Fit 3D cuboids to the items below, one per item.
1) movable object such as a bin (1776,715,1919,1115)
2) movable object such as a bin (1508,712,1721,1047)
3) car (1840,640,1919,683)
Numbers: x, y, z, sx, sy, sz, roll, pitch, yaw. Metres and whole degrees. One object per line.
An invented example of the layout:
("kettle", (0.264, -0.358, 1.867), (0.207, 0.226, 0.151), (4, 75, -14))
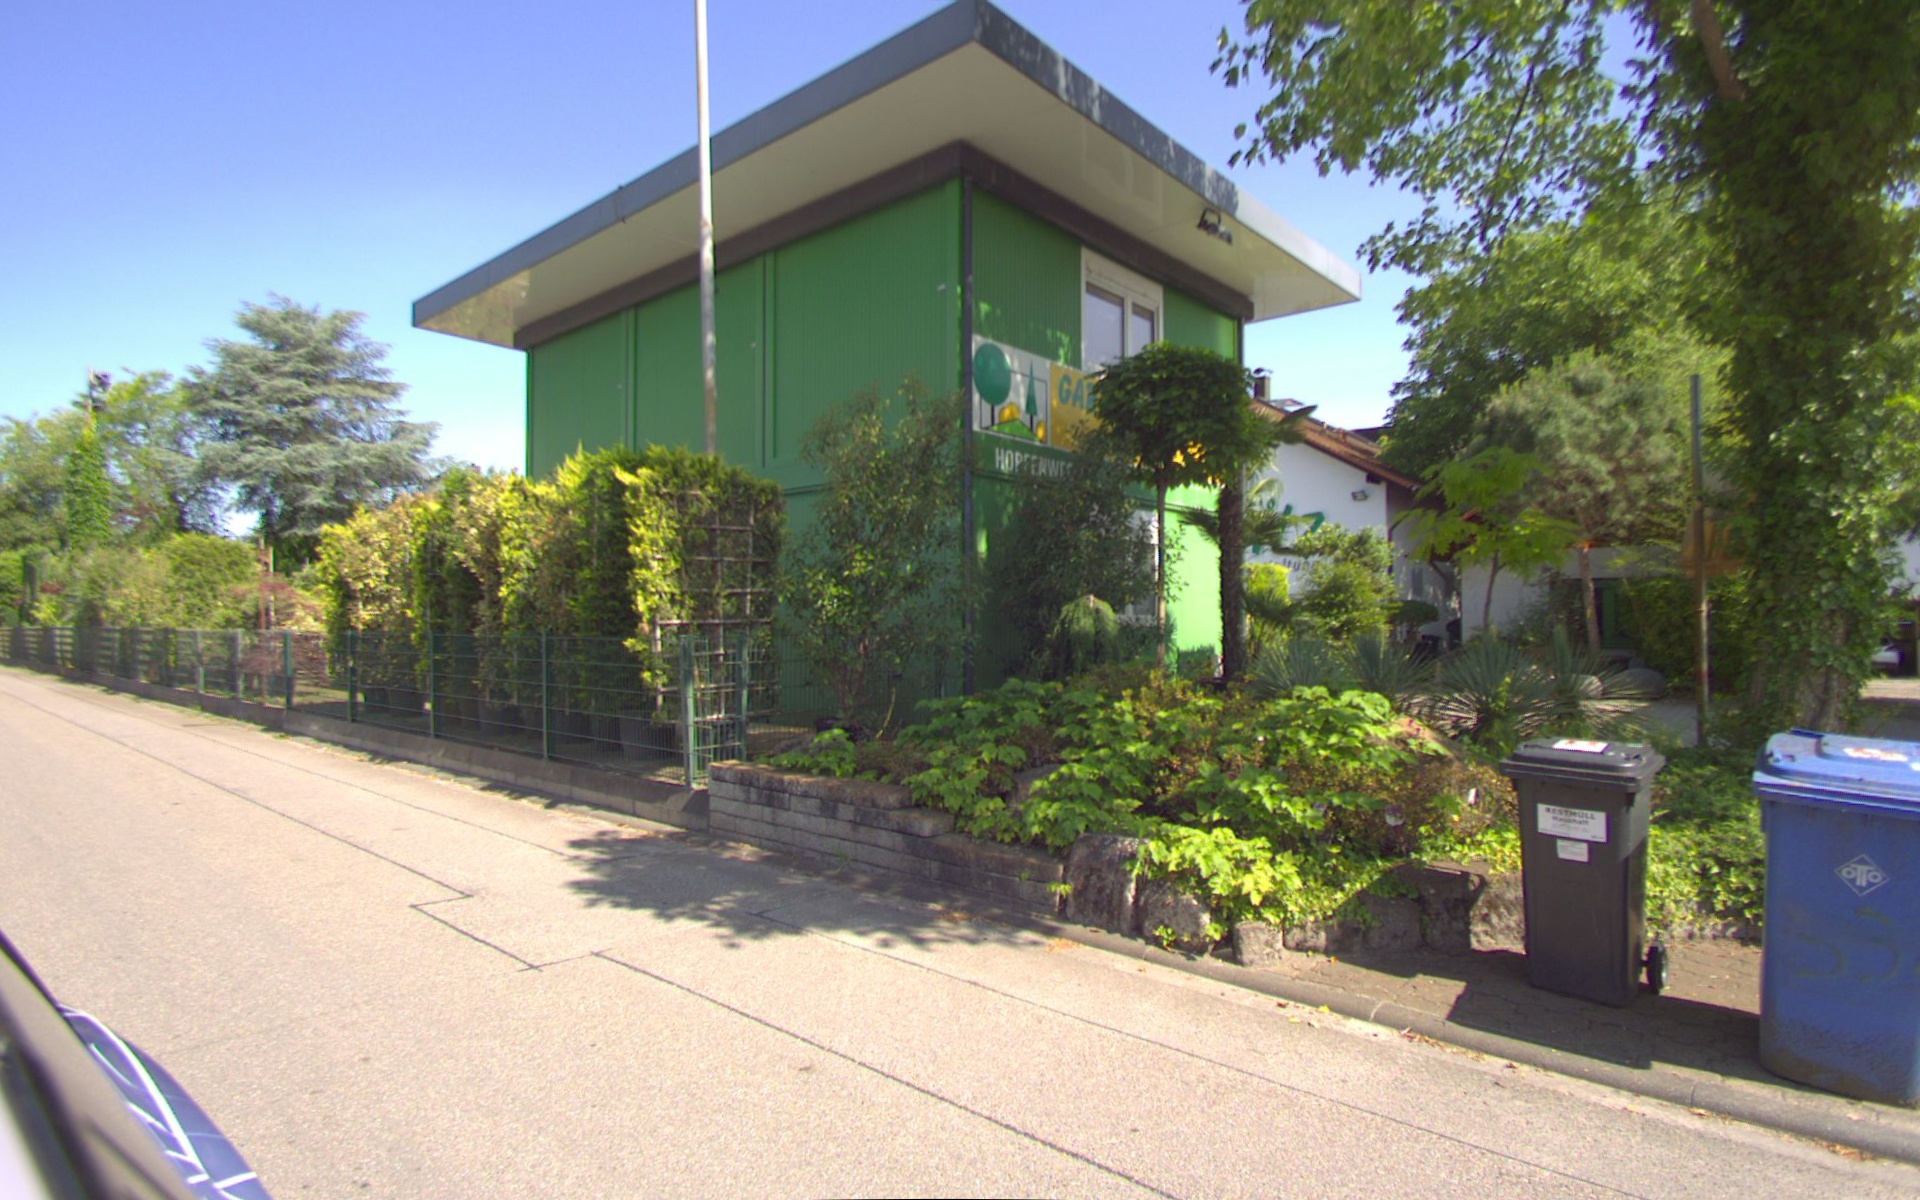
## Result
("movable object such as a bin", (2.985, 0.941, 3.171), (0.612, 1.062, 0.723), (-2, -1, 42))
("movable object such as a bin", (2.451, 0.976, 3.785), (0.568, 1.032, 0.576), (-2, -1, 42))
("car", (33.602, 2.196, 36.924), (3.940, 1.453, 1.904), (2, -3, -44))
